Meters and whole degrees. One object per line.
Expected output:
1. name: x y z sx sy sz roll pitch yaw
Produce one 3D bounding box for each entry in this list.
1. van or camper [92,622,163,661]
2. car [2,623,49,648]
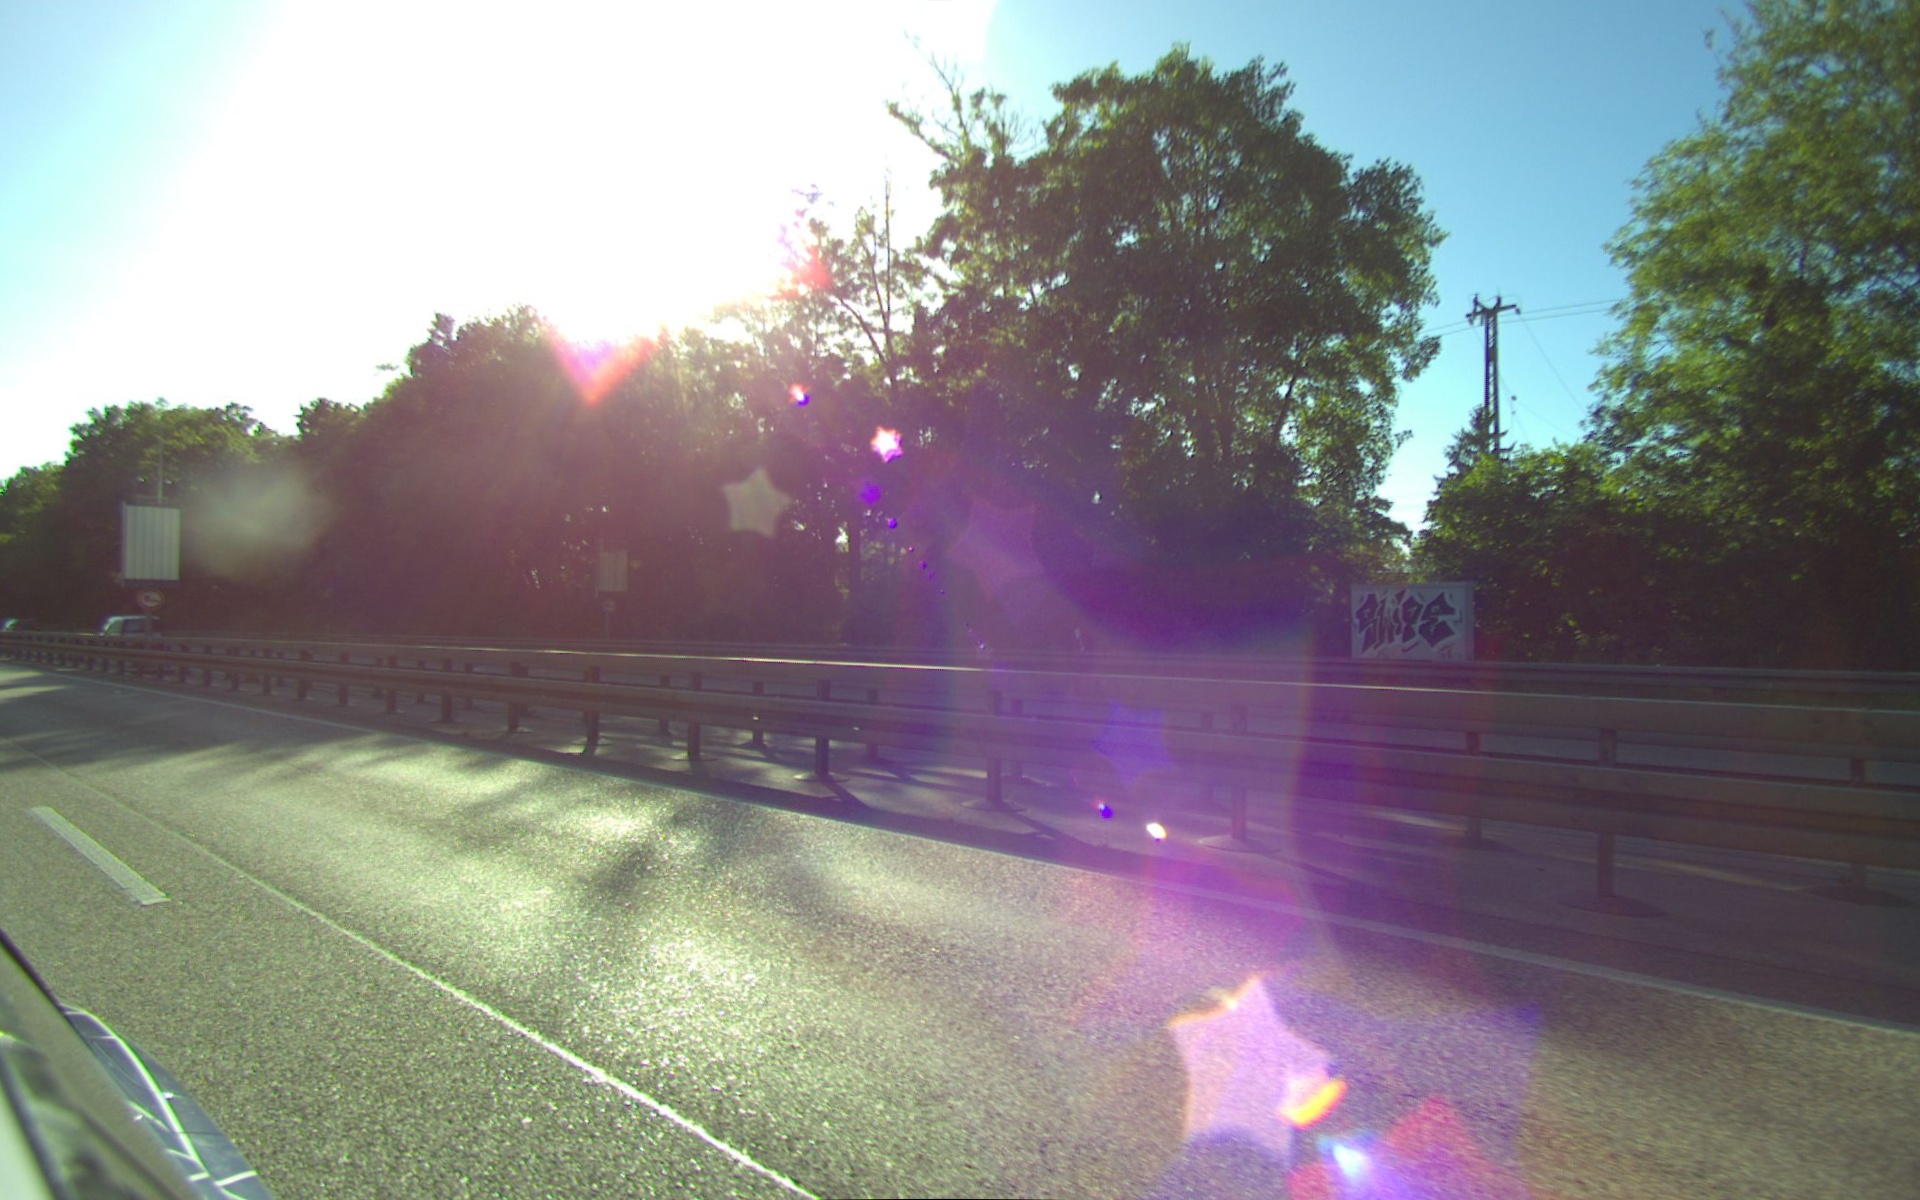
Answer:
1. van or camper: -39.505 1.949 48.010 4.283 1.779 1.852 -1 -2 40
2. car: -71.803 2.715 77.754 4.419 1.893 1.974 -1 -2 38
